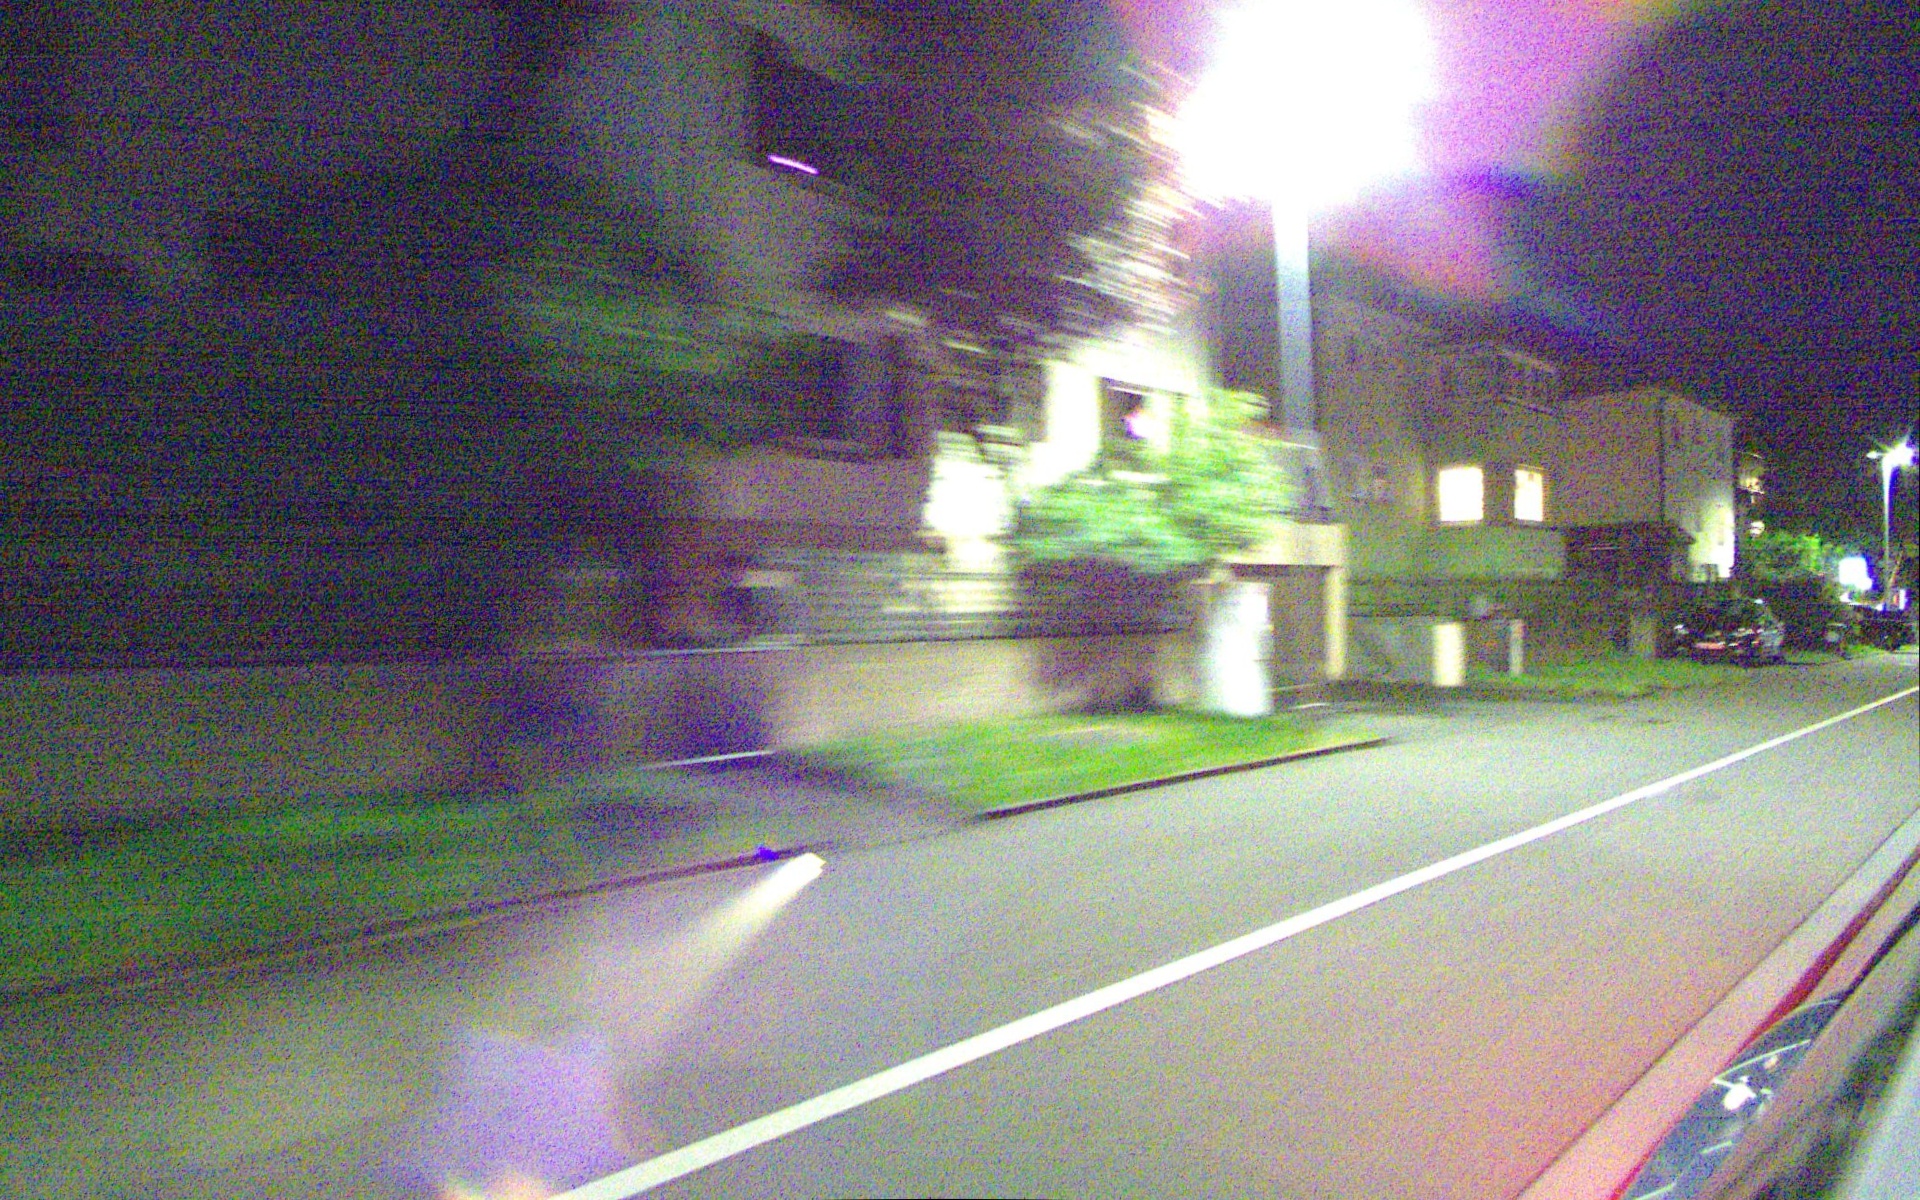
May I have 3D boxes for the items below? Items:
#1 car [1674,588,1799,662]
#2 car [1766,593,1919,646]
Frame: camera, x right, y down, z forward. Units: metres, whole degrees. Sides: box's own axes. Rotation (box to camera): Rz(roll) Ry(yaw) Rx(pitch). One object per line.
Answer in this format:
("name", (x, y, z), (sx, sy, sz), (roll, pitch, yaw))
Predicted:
("car", (18.072, 0.522, 23.509), (3.614, 1.579, 1.642), (0, 0, -41))
("car", (28.168, 0.574, 31.994), (1.800, 1.504, 3.913), (0, 1, -40))
